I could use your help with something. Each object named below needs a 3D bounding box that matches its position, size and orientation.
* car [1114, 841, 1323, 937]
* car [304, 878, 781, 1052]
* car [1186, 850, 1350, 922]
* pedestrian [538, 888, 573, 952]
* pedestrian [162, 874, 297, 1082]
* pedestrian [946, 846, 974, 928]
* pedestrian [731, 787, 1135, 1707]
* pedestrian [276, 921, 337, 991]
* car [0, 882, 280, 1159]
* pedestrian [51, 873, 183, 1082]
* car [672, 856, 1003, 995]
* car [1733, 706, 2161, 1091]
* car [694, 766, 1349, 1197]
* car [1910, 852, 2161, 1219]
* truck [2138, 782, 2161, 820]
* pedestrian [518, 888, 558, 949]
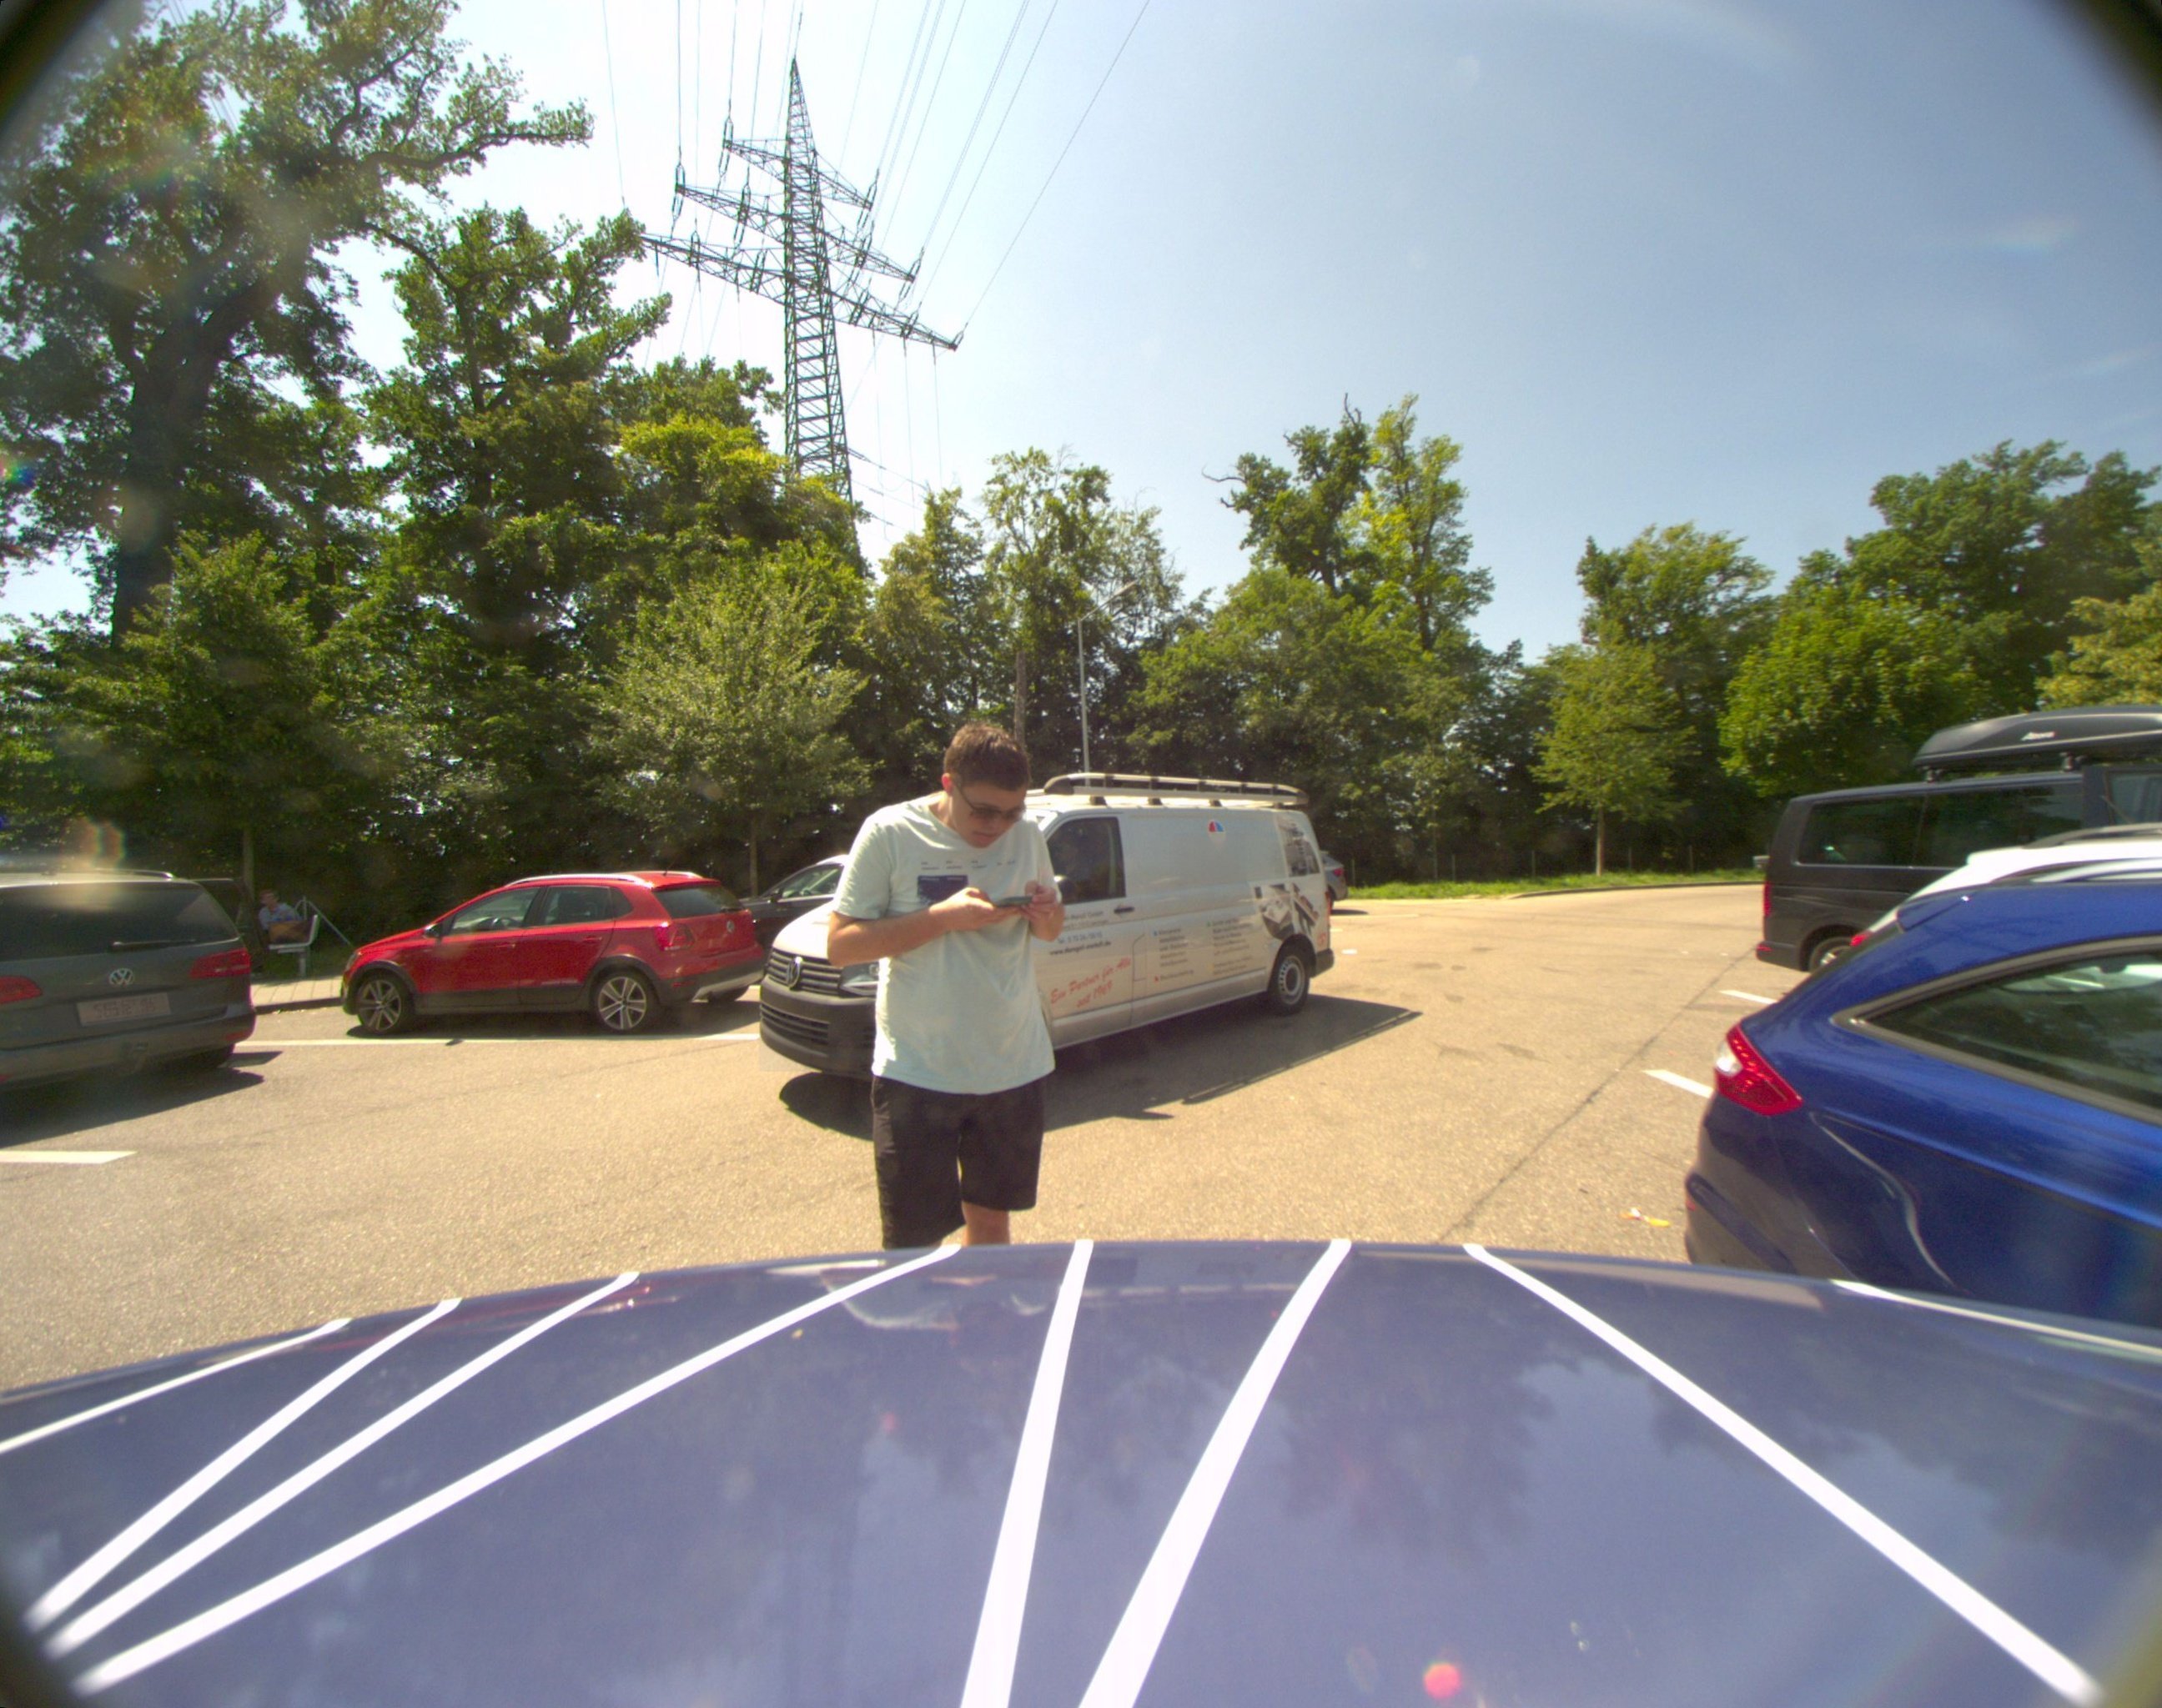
[{"bbox_3d":[2.645,0.667,15.202,3.850,1.678,1.755,-2,0,4],"label":"car"},{"bbox_3d":[-5.229,1.051,7.646,3.745,1.458,1.621,-2,0,7],"label":"car"},{"bbox_3d":[4.345,0.728,18.080,3.585,1.493,1.707,-2,1,8],"label":"car"},{"bbox_3d":[-10.131,1.264,14.646,0.366,1.186,0.356,-2,1,21],"label":"pedestrian"},{"bbox_3d":[-7.458,1.046,6.671,0.481,1.712,0.589,-2,1,22],"label":"pedestrian"},{"bbox_3d":[-2.916,0.791,18.300,0.573,1.942,0.430,-2,0,-11],"label":"pedestrian"},{"bbox_3d":[-0.377,0.782,1.880,0.741,1.818,0.613,-2,0,-34],"label":"pedestrian"},{"bbox_3d":[-10.831,1.412,10.644,0.503,0.874,0.512,-3,1,-39],"label":"pedestrian"},{"bbox_3d":[-8.348,1.098,5.429,3.903,1.607,1.705,-2,1,11],"label":"car"},{"bbox_3d":[-8.330,1.038,6.581,0.436,1.712,0.511,-2,1,17],"label":"pedestrian"},{"bbox_3d":[-3.118,0.899,10.304,3.866,1.607,1.709,-2,0,0],"label":"car"},{"bbox_3d":[7.289,0.251,5.247,1.788,2.304,4.084,-2,0,-5],"label":"car"},{"bbox_3d":[0.066,0.585,6.256,5.445,2.092,1.839,-2,1,-45],"label":"car"},{"bbox_3d":[4.718,0.675,2.149,1.344,1.352,3.114,-2,0,1],"label":"car"},{"bbox_3d":[40.294,-1.984,27.035,1.168,1.367,2.882,-2,-1,-19],"label":"truck"},{"bbox_3d":[-10.961,1.289,15.353,0.413,1.186,0.443,-2,1,12],"label":"pedestrian"}]
